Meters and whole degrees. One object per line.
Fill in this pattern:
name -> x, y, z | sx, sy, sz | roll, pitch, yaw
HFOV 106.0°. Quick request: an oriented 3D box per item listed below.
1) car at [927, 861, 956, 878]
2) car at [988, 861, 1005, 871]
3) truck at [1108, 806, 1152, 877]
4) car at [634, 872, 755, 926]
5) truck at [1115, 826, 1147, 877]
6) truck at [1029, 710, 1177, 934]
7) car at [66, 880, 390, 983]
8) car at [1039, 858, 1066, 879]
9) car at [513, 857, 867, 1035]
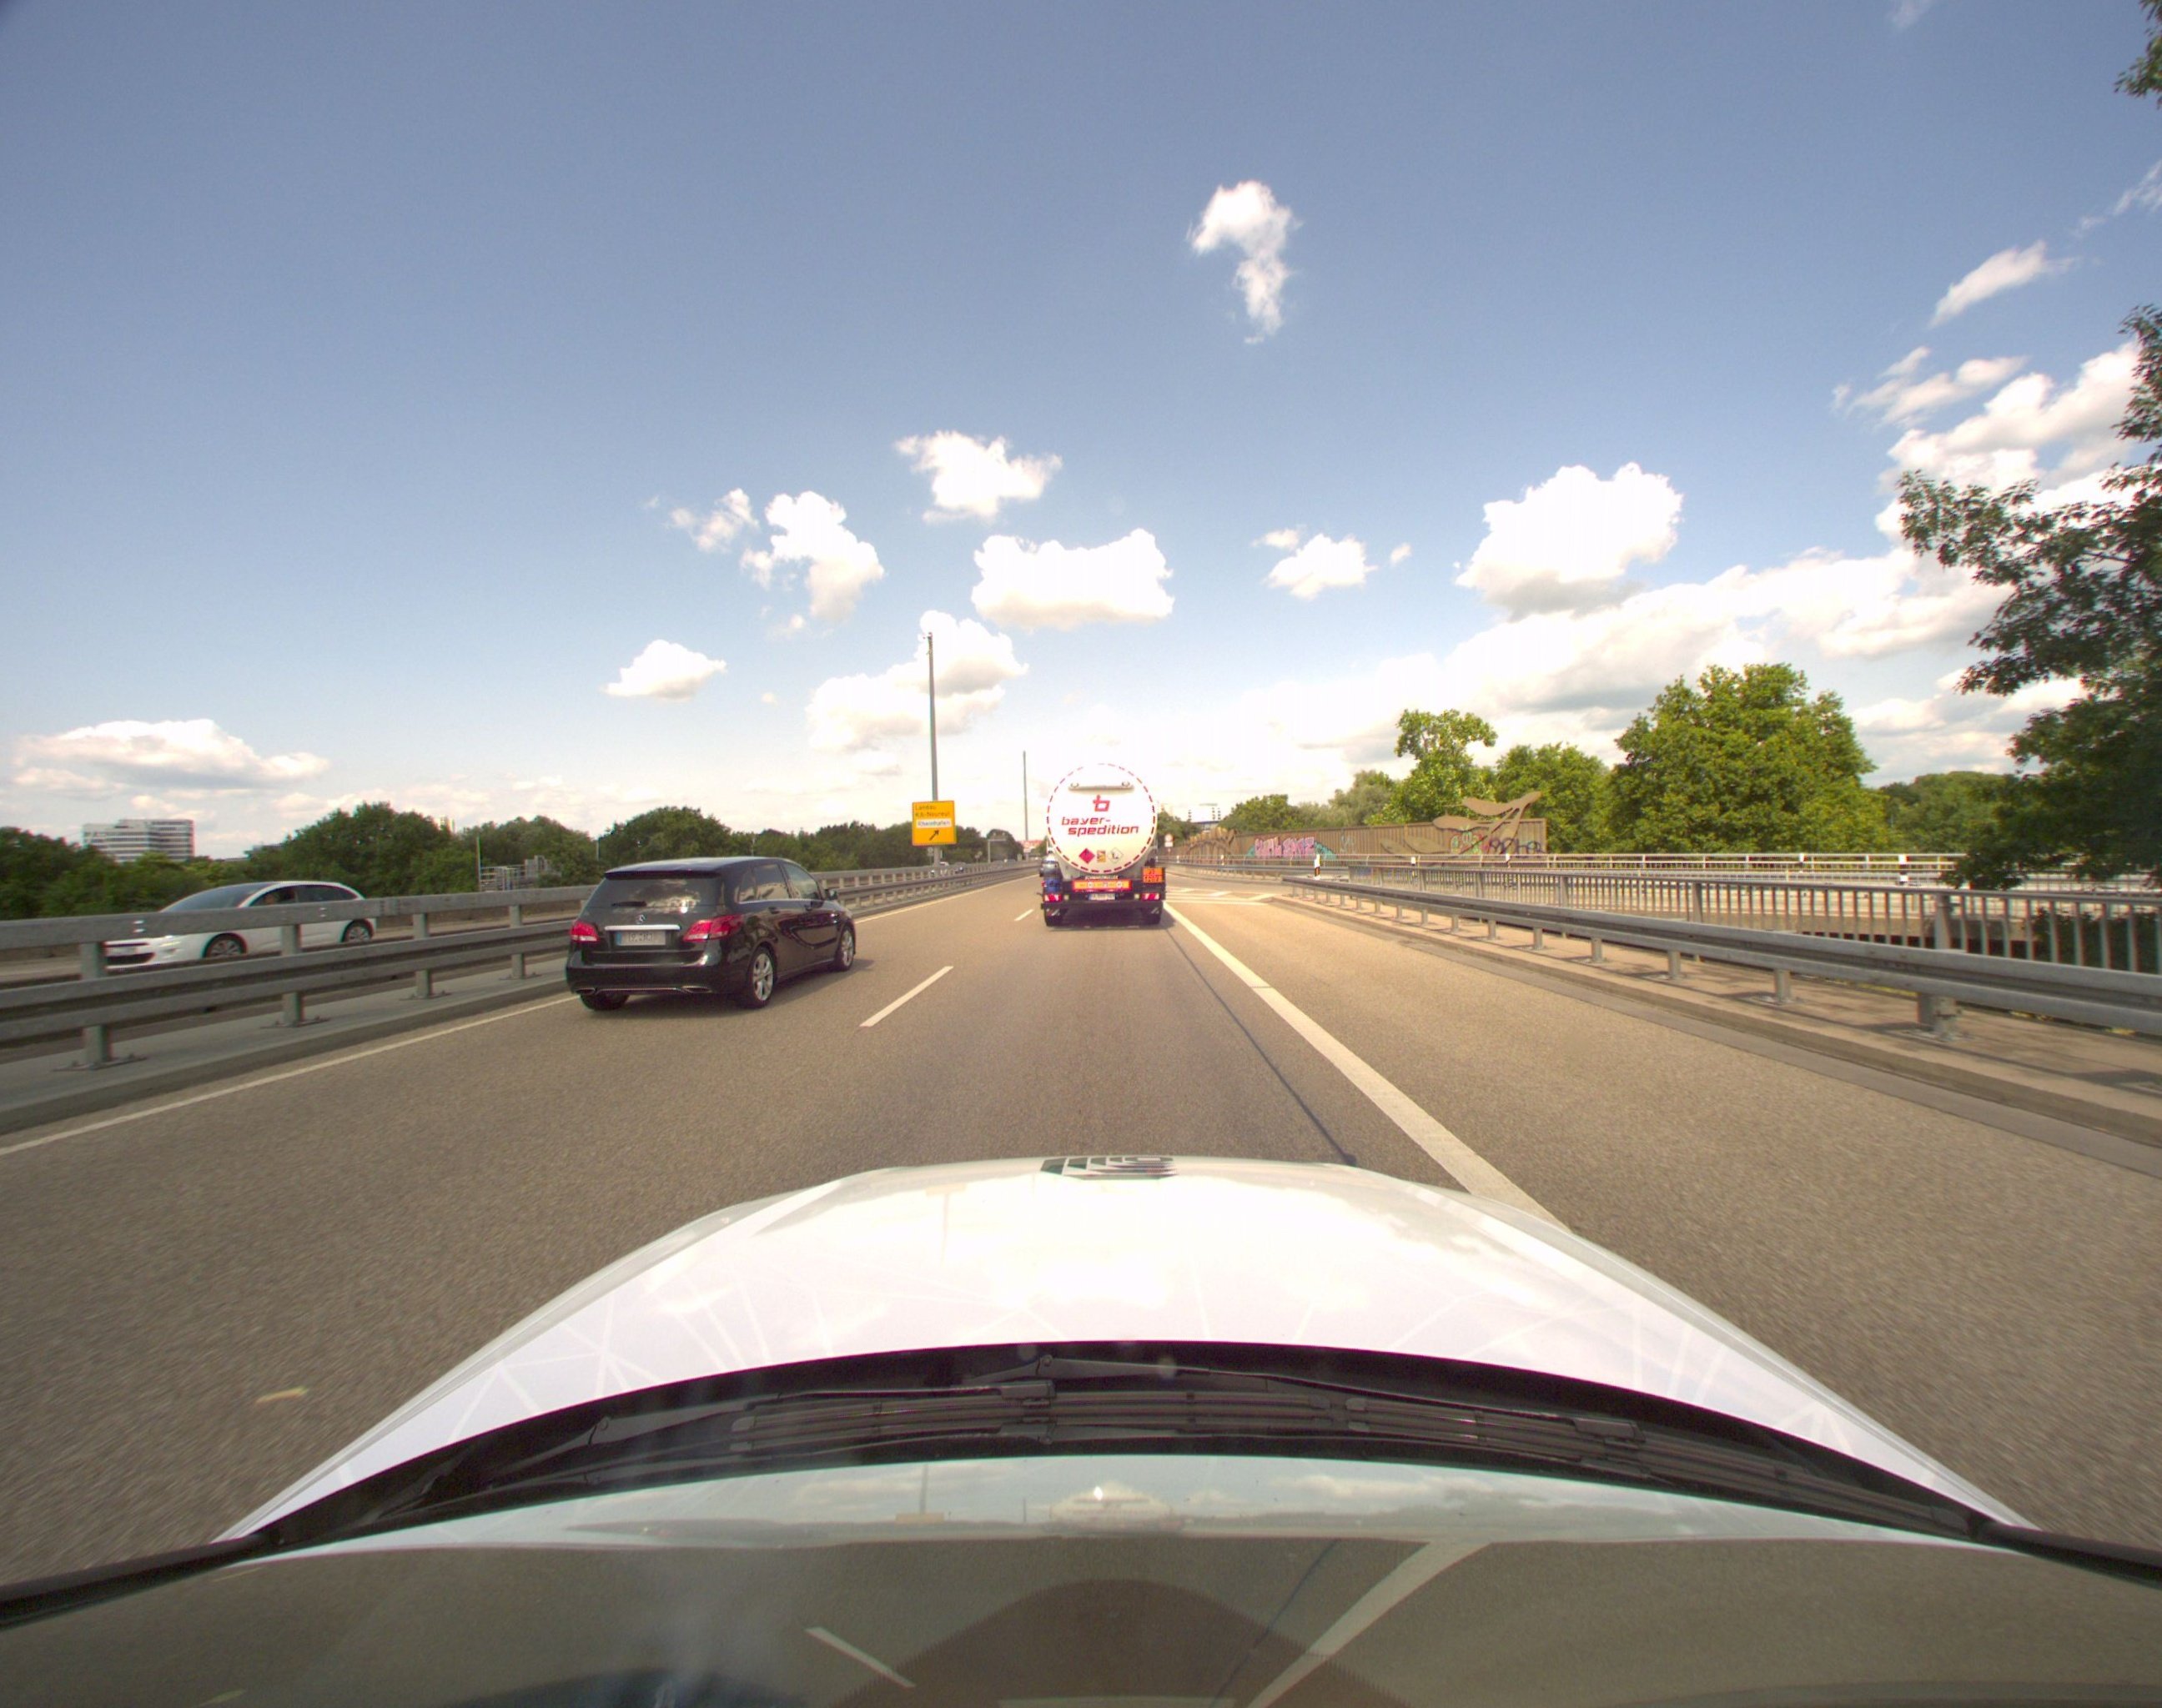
car -> -13.237, 1.454, 77.556 | 1.790, 1.596, 4.715 | -1, 0, 2
car -> -11.937, 1.663, 115.445 | 1.770, 1.420, 4.624 | -1, 0, 3
truck -> 3.426, -0.835, 58.834 | 2.885, 4.808, 8.031 | 0, 0, 1
car -> -12.343, 1.379, 26.339 | 1.896, 1.529, 4.242 | 0, 0, 0
truck -> 4.879, -0.222, 80.635 | 2.885, 4.808, 8.031 | 0, 0, 1
truck -> 0.510, -0.624, 19.949 | 2.885, 4.369, 8.031 | 0, 0, 1
car -> -15.728, 1.339, 15.386 | 1.821, 1.581, 3.957 | 0, 0, 3
car -> -2.141, 1.087, 62.202 | 1.741, 1.531, 4.001 | -1, 0, 1
car -> -3.990, 0.805, 9.341 | 1.705, 1.527, 4.594 | 0, 0, 2
